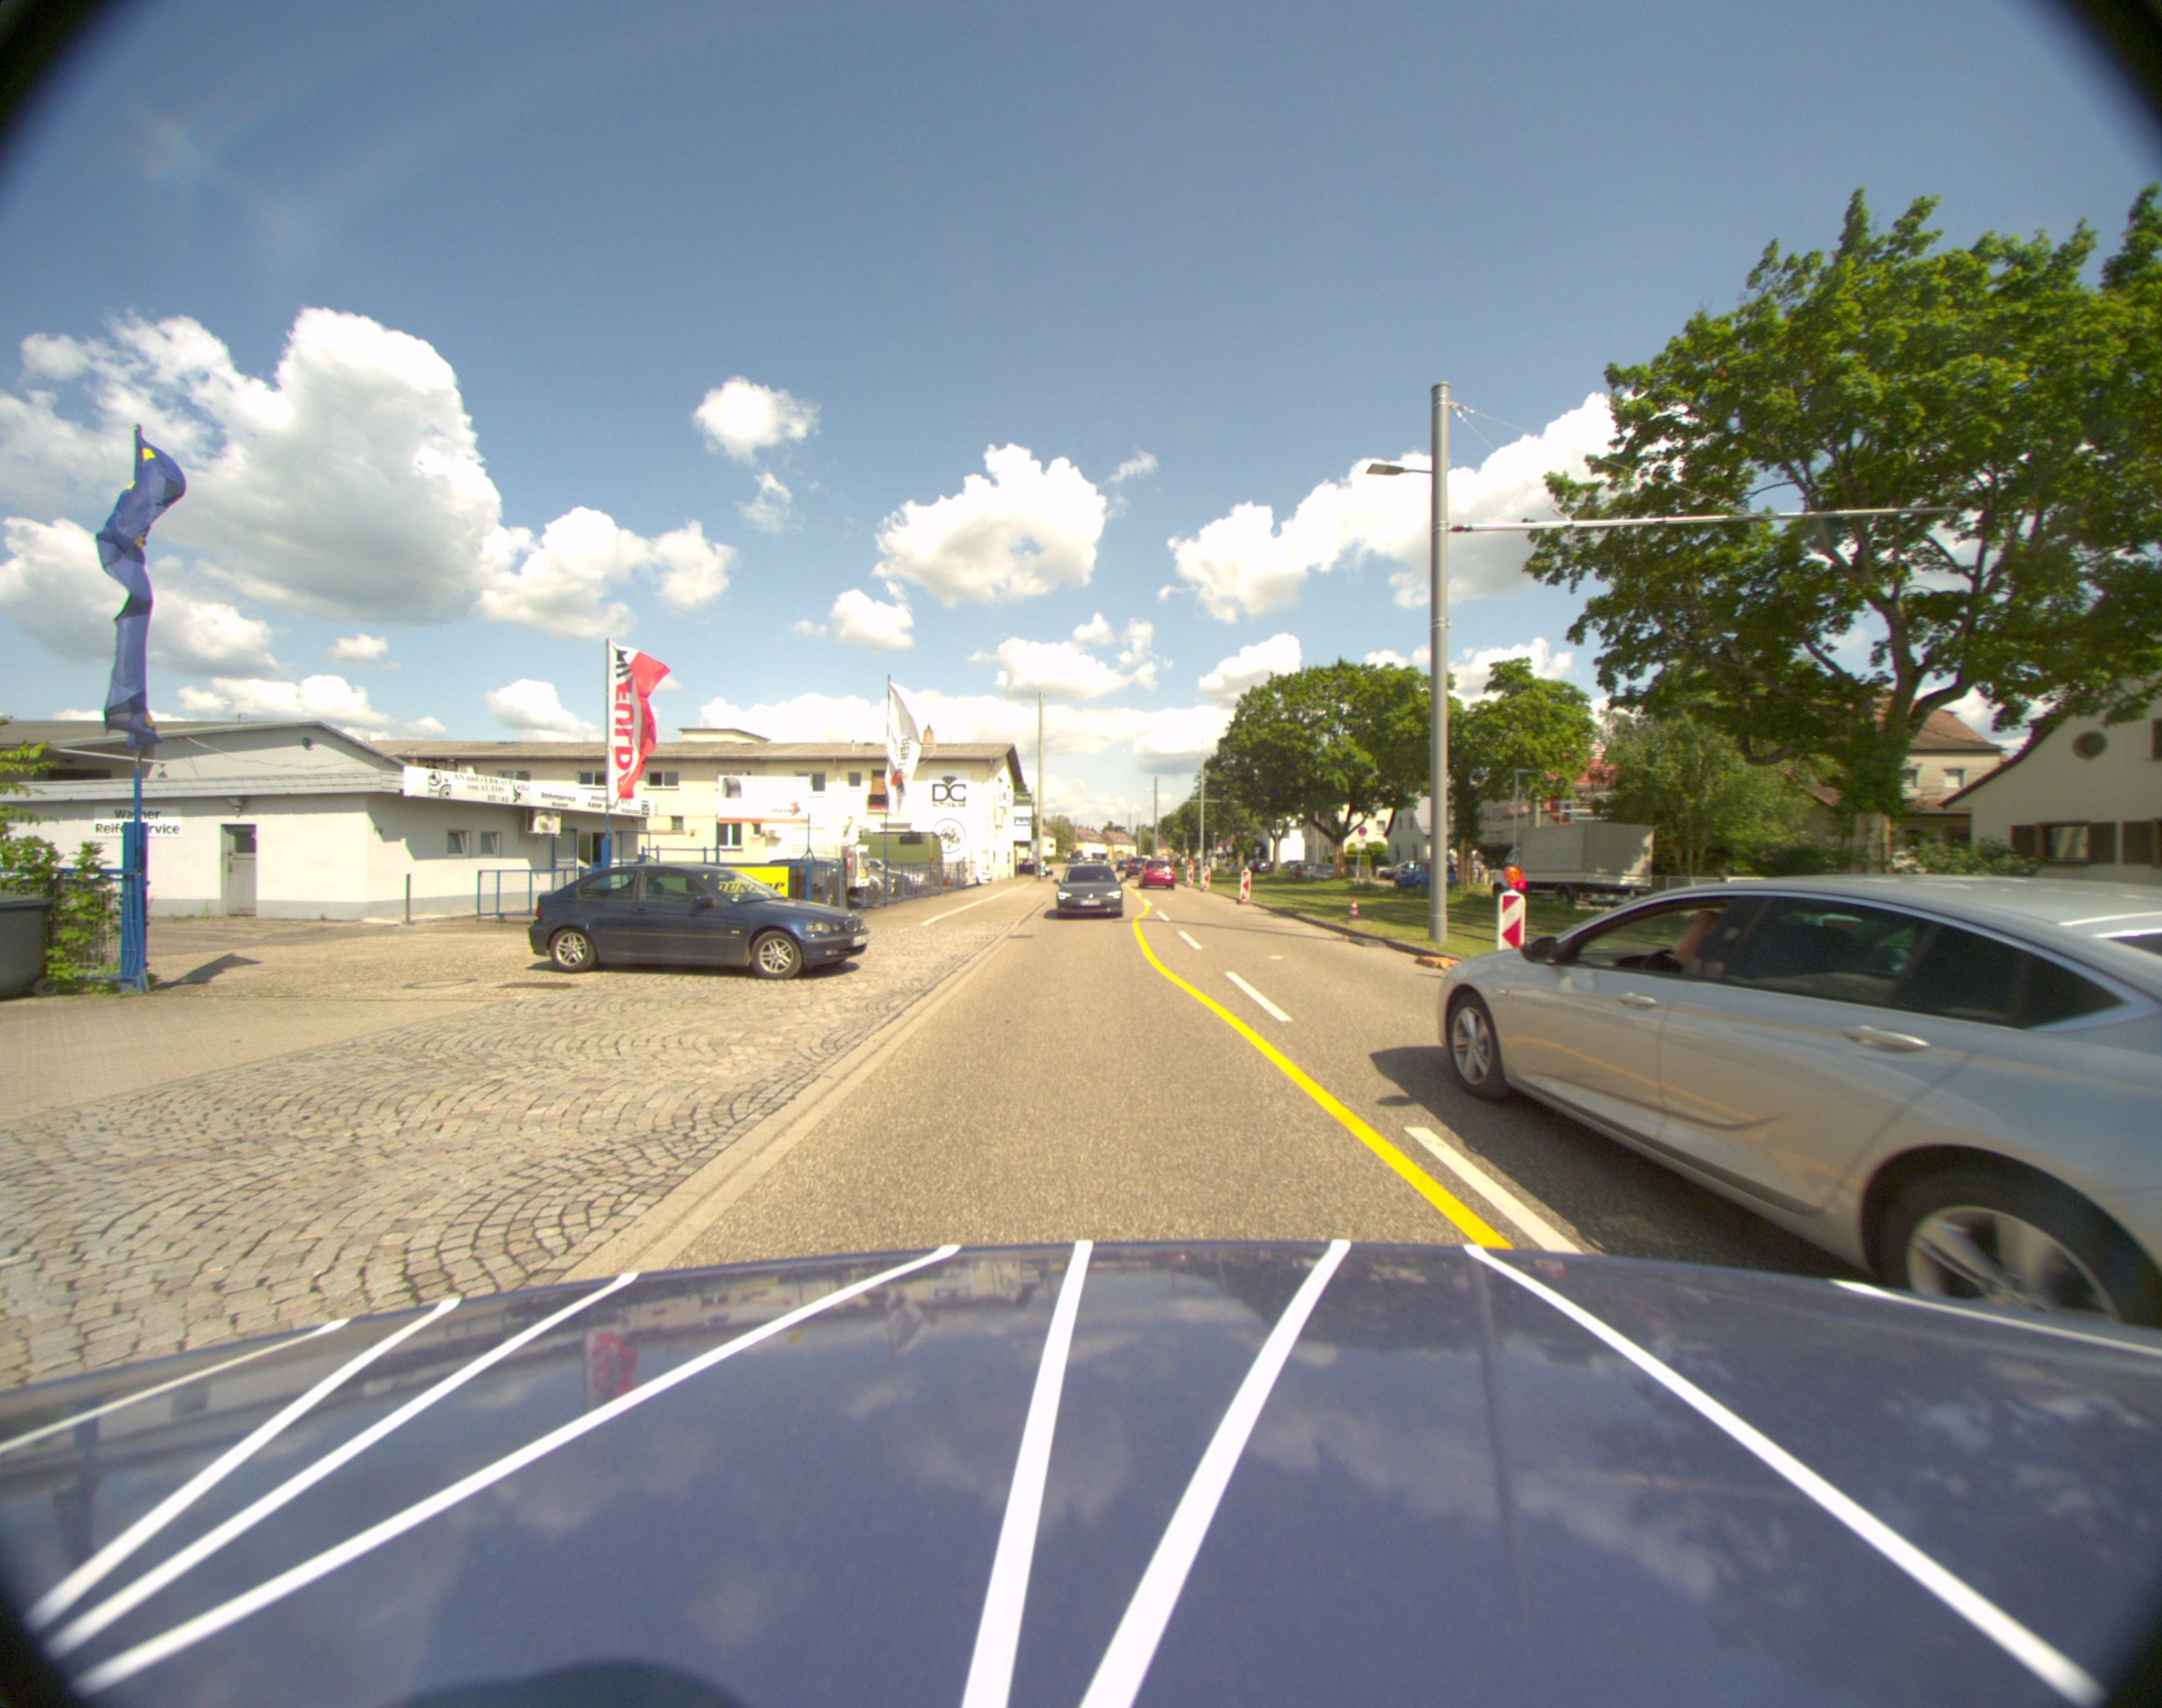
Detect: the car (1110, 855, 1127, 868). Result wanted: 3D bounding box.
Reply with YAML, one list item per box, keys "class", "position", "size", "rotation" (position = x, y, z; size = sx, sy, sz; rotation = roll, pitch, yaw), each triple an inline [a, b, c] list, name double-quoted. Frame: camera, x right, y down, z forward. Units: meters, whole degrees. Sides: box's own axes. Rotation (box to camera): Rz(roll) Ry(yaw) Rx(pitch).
- class: "car"
  position: [4.447, 0.872, 90.875]
  size: [1.715, 1.478, 4.536]
  rotation: [1, 0, 0]

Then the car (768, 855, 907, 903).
- class: "car"
  position: [-8.372, 0.851, 26.206]
  size: [4.254, 1.496, 1.829]
  rotation: [-1, 1, 18]

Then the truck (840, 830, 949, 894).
- class: "truck"
  position: [-8.238, 0.331, 33.776]
  size: [4.181, 2.645, 2.108]
  rotation: [-2, 1, 2]

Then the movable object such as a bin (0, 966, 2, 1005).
- class: "movable object such as a bin"
  position: [-11.644, 1.097, 7.622]
  size: [0.582, 1.004, 0.706]
  rotation: [-2, 1, 0]

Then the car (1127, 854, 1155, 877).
- class: "car"
  position: [4.630, 0.876, 59.147]
  size: [1.801, 1.680, 4.221]
  rotation: [2, 0, 1]

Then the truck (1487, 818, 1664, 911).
- class: "truck"
  position: [16.818, 0.295, 26.376]
  size: [2.370, 2.789, 5.951]
  rotation: [-2, 1, 2]

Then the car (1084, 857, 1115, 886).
- class: "car"
  position: [1.043, 0.949, 42.648]
  size: [1.594, 1.418, 3.707]
  rotation: [-2, 1, 2]

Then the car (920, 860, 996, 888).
- class: "car"
  position: [-6.599, 1.089, 40.942]
  size: [3.725, 1.350, 1.518]
  rotation: [-2, 1, 5]

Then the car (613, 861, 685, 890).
- class: "car"
  position: [-20.903, 1.023, 36.906]
  size: [1.453, 1.254, 3.276]
  rotation: [-2, 1, 2]

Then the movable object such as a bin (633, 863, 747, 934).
- class: "movable object such as a bin"
  position: [-8.581, 0.943, 16.806]
  size: [1.535, 1.402, 1.765]
  rotation: [-2, 1, 1]

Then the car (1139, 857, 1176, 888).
- class: "car"
  position: [3.848, 0.915, 38.656]
  size: [1.582, 1.460, 3.720]
  rotation: [1, 0, 2]

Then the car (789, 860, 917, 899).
- class: "car"
  position: [-8.575, 0.939, 28.770]
  size: [4.257, 1.366, 1.742]
  rotation: [-1, 1, 8]

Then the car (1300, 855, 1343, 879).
- class: "car"
  position: [17.234, 0.909, 54.667]
  size: [1.707, 1.504, 4.524]
  rotation: [-2, 1, 1]

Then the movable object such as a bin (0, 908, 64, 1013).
- class: "movable object such as a bin"
  position: [-11.006, 1.079, 7.631]
  size: [0.582, 1.004, 0.706]
  rotation: [-2, 1, 0]

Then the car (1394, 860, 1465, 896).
- class: "car"
  position: [16.702, 1.098, 36.653]
  size: [1.672, 1.504, 3.930]
  rotation: [-2, 1, 1]

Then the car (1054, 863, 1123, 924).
- class: "car"
  position: [0.274, 1.030, 21.574]
  size: [1.743, 1.410, 4.381]
  rotation: [-1, 1, 2]

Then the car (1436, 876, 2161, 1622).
- class: "car"
  position: [3.258, 0.914, 2.863]
  size: [1.825, 1.437, 4.483]
  rotation: [1, 1, 2]

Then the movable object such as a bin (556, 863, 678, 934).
- class: "movable object such as a bin"
  position: [-10.158, 0.944, 16.763]
  size: [1.535, 1.402, 1.765]
  rotation: [-2, 1, 1]

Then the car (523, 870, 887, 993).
- class: "car"
  position: [-4.843, 0.943, 10.070]
  size: [4.060, 1.400, 1.648]
  rotation: [0, 1, 7]

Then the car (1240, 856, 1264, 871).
- class: "car"
  position: [17.164, 0.937, 76.370]
  size: [1.636, 1.294, 4.000]
  rotation: [-2, 1, 2]

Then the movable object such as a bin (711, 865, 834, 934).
- class: "movable object such as a bin"
  position: [-6.754, 0.971, 16.825]
  size: [1.967, 1.339, 1.708]
  rotation: [-2, 1, 1]

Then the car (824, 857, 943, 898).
- class: "car"
  position: [-8.022, 0.933, 31.038]
  size: [4.257, 1.499, 1.828]
  rotation: [-2, 1, 9]

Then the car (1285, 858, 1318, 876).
- class: "car"
  position: [17.447, 1.023, 60.244]
  size: [1.624, 1.235, 3.787]
  rotation: [-2, 1, 2]

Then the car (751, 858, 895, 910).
- class: "car"
  position: [-7.813, 0.877, 23.031]
  size: [3.901, 1.454, 1.628]
  rotation: [0, 1, 18]

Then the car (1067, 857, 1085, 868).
- class: "car"
  position: [-0.600, 1.059, 96.864]
  size: [1.823, 1.412, 4.002]
  rotation: [0, 0, 7]

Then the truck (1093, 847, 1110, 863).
- class: "truck"
  position: [3.719, 0.142, 137.369]
  size: [2.631, 2.871, 7.925]
  rotation: [-2, 1, 4]

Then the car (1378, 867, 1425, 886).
- class: "car"
  position: [25.574, 1.780, 60.570]
  size: [3.237, 1.374, 1.490]
  rotation: [-1, 1, 31]
